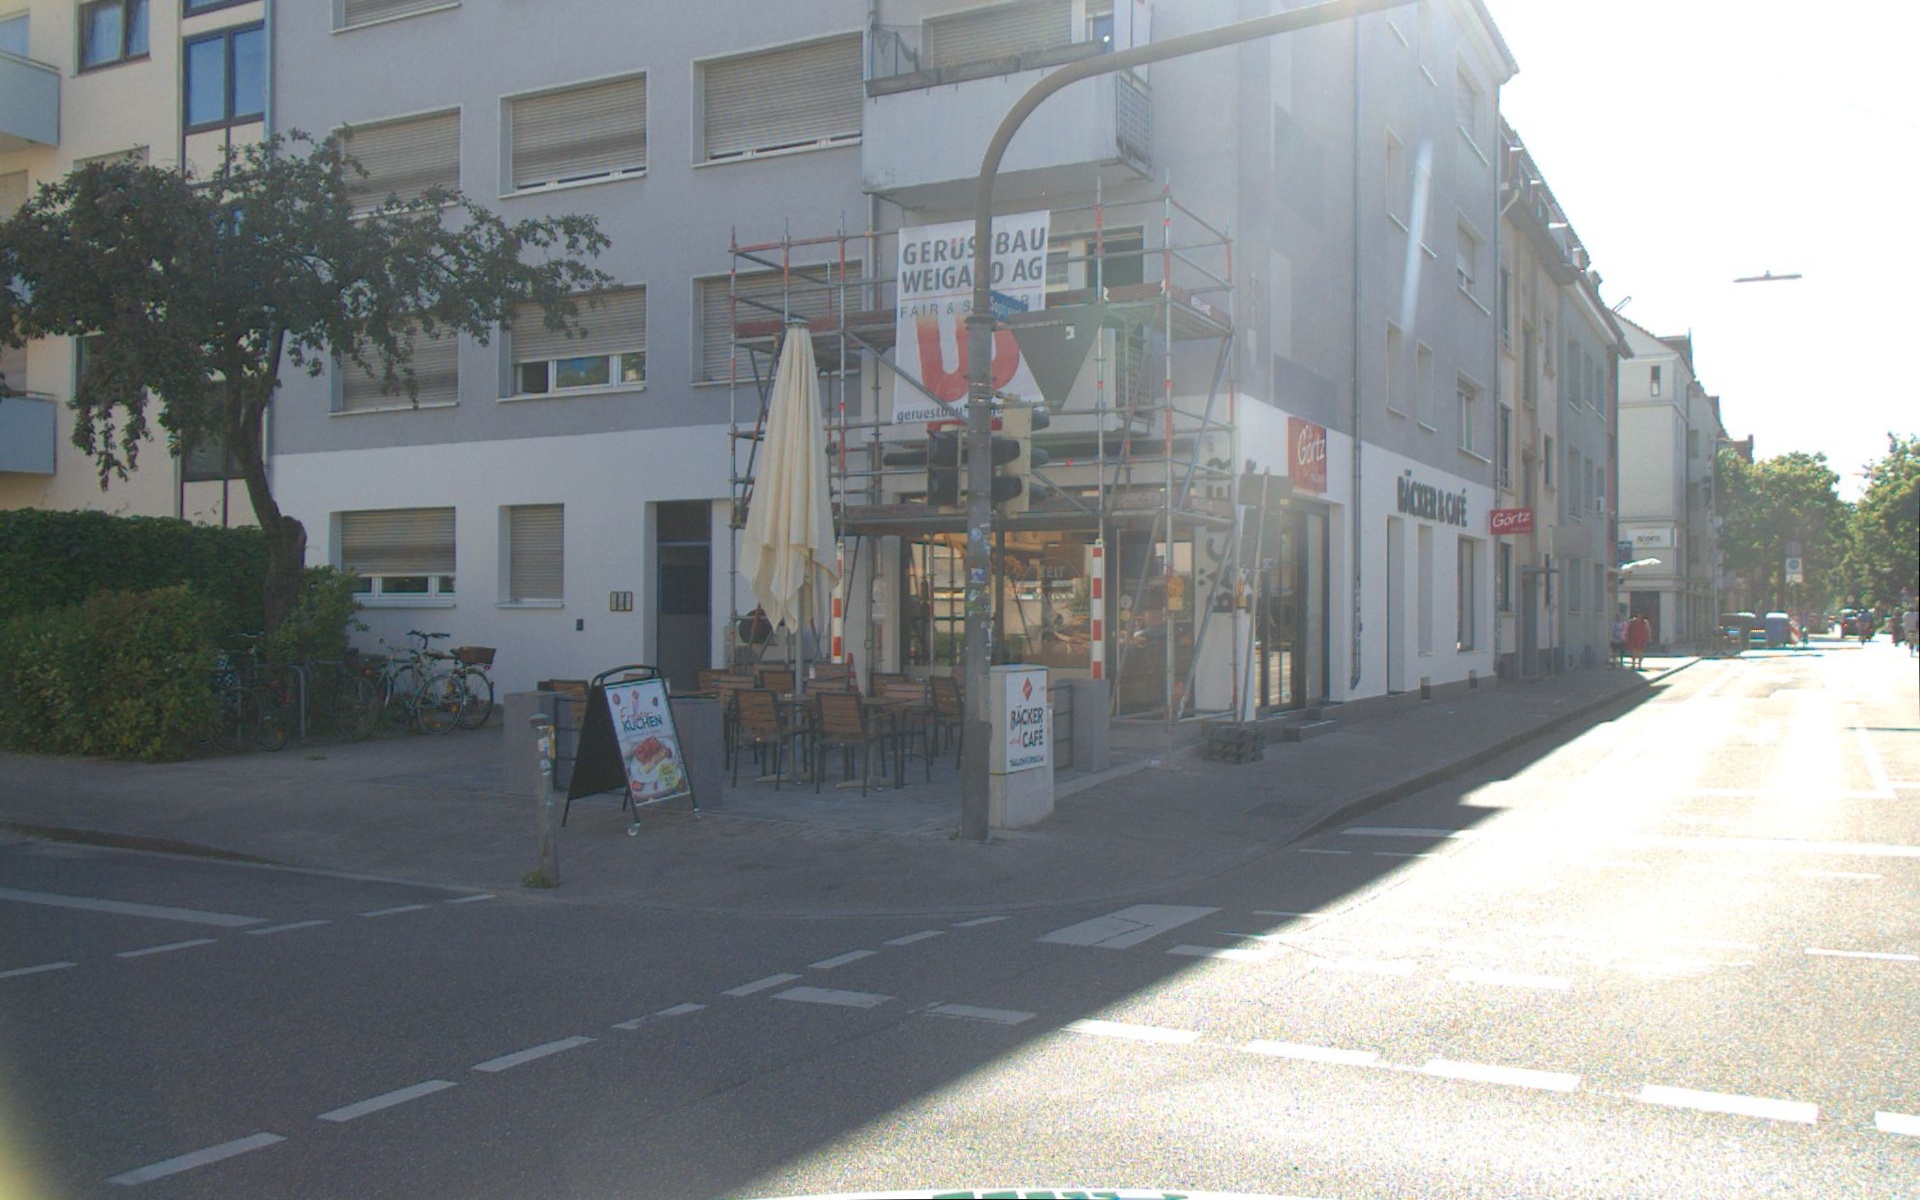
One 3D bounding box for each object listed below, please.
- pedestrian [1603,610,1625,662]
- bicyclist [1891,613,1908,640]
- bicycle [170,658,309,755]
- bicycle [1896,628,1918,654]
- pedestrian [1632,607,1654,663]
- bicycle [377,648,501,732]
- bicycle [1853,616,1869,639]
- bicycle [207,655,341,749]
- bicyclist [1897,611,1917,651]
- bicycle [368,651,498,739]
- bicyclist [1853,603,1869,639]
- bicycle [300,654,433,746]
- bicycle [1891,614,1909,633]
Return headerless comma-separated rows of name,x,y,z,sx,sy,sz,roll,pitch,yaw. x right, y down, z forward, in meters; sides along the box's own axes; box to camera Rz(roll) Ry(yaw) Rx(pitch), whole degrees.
pedestrian,18.928,1.040,47.864,0.565,1.493,0.702,0,-1,22
bicyclist,43.246,1.213,76.125,0.679,1.214,0.594,0,-1,29
bicycle,-7.543,1.094,17.296,1.559,0.956,0.511,-1,-1,30
bicycle,33.299,1.434,58.170,0.608,0.881,1.873,0,0,28
pedestrian,19.549,0.993,47.366,0.565,1.611,0.708,0,-1,22
bicycle,-6.312,1.074,20.011,1.559,0.956,0.511,-1,-1,30
bicycle,42.660,1.307,78.312,0.620,1.059,1.793,-1,-1,27
bicycle,-7.456,1.088,17.966,1.559,0.956,0.511,-1,-1,30
bicyclist,33.332,1.084,58.242,0.577,1.407,0.821,0,-1,29
bicycle,-6.067,1.079,19.021,1.559,0.956,0.511,-1,-1,30
bicyclist,42.490,0.997,77.993,0.620,1.698,1.049,-1,-1,27
bicycle,-6.581,1.089,18.325,1.559,0.956,0.511,-1,-1,30
bicycle,43.147,1.067,75.955,0.678,0.881,1.873,0,0,28
